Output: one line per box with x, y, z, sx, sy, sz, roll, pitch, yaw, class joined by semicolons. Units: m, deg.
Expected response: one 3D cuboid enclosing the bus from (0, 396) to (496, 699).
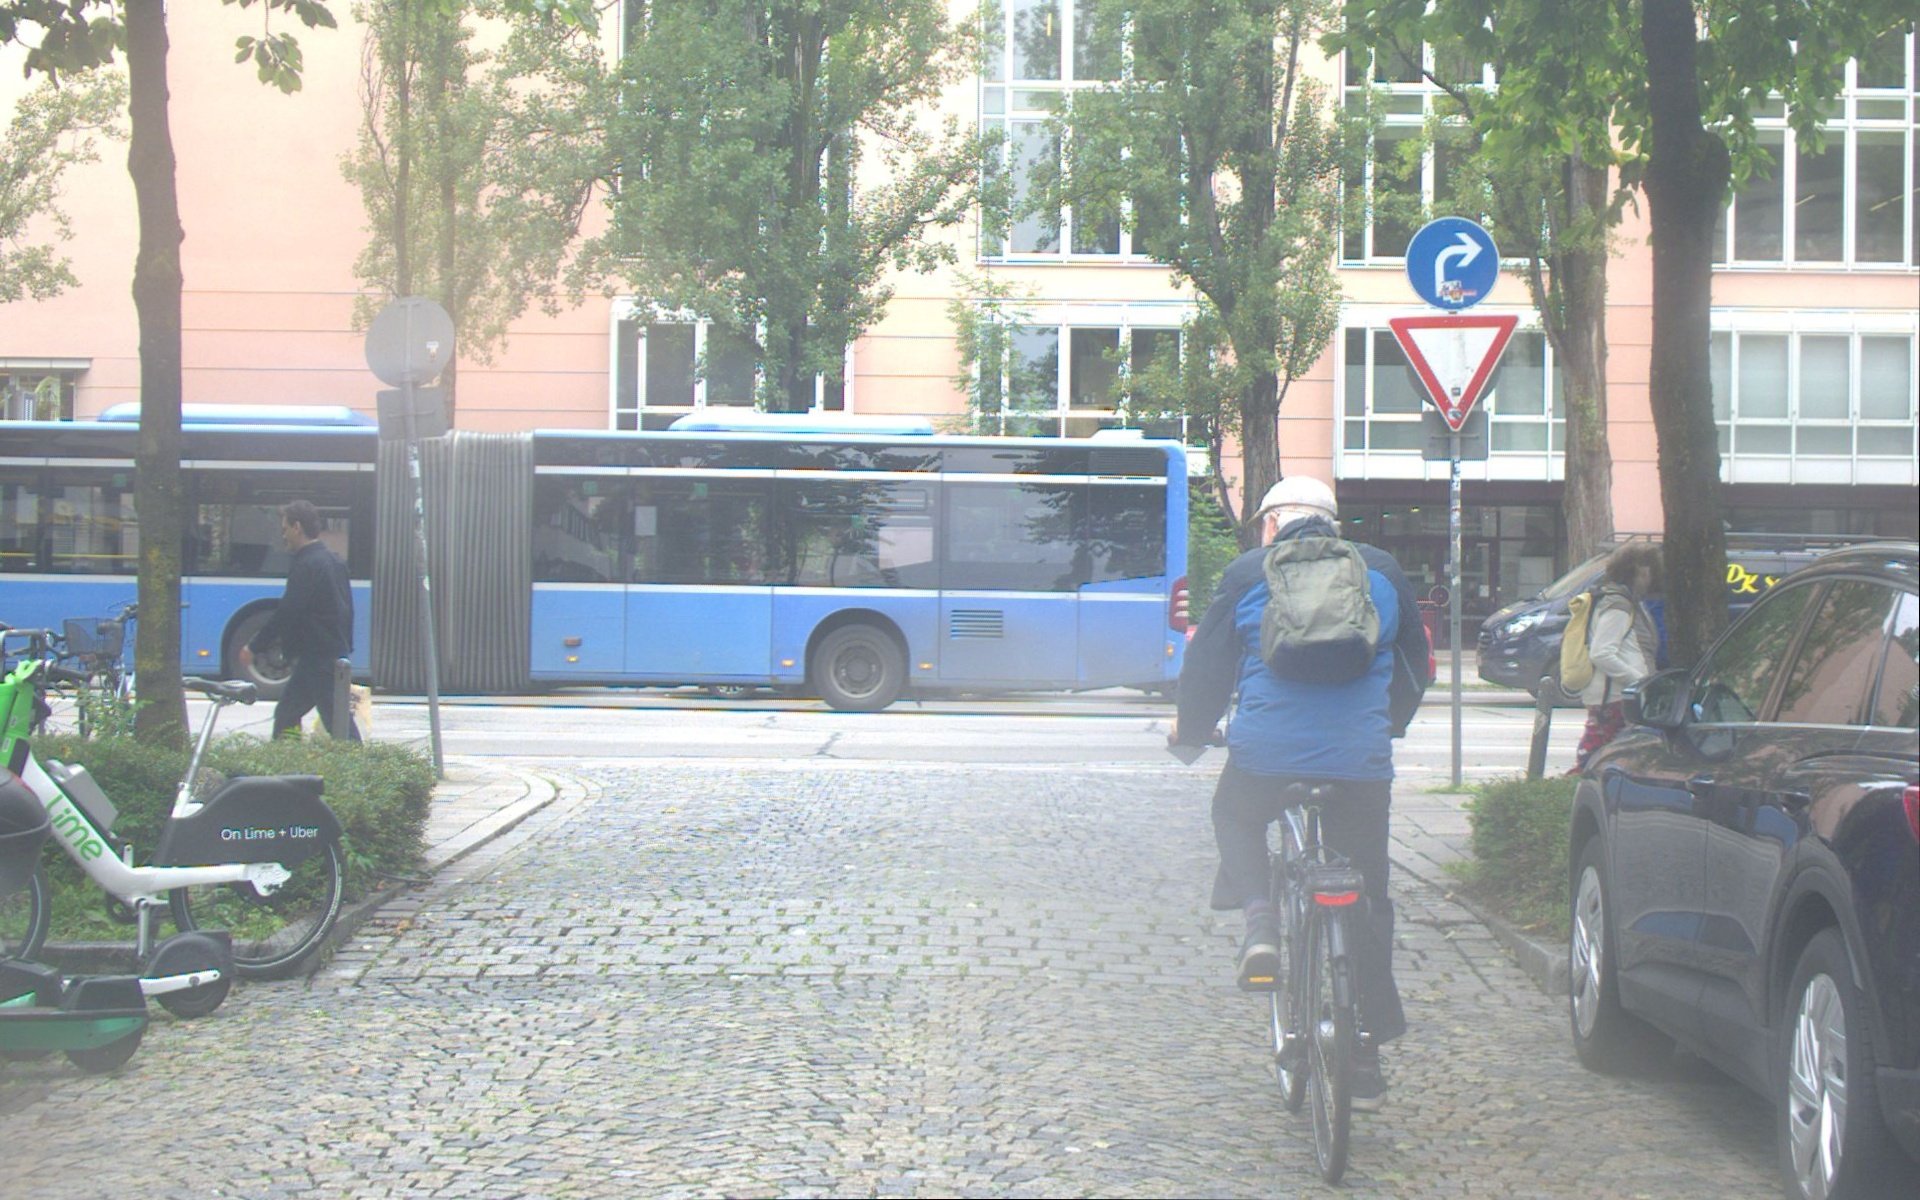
-10.004;-0.572;36.435;9.763;3.041;2.927;0;1;0;bus

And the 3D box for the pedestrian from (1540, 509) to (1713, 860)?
3.298;0.403;17.043;0.804;1.690;0.664;1;1;10;pedestrian

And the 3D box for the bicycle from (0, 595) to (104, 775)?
-6.070;0.526;22.204;0.490;1.089;1.703;1;1;6;bicycle

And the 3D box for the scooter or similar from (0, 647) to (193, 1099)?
-2.861;0.774;9.824;1.247;1.268;0.327;1;1;-30;scooter or similar

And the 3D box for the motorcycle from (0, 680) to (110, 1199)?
-2.985;0.795;7.653;1.985;1.192;0.771;0;1;-43;motorcycle

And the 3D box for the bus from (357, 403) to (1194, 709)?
-1.862;-0.467;36.364;8.489;3.041;2.927;0;1;1;bus

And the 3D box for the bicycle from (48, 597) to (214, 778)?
-5.291;0.538;22.027;0.490;1.089;1.703;1;1;6;bicycle

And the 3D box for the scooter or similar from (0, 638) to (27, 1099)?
-2.904;0.746;8.983;0.326;1.268;1.357;1;1;11;scooter or similar

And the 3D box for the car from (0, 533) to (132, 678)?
-12.388;0.052;42.077;4.065;1.726;1.793;1;-1;0;car

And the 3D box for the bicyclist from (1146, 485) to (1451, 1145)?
0.854;0.524;8.864;0.722;1.614;0.757;1;1;3;bicyclist

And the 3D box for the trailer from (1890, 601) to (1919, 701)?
14.573;0.663;41.742;5.910;1.195;2.405;1;1;2;trailer

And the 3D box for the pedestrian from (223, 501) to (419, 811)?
-3.584;0.304;19.353;0.955;1.705;0.858;0;1;-1;pedestrian

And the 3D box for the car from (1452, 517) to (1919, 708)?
8.882;0.135;41.851;5.479;2.189;2.024;1;1;1;car

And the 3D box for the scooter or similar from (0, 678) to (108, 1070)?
-3.230;0.805;10.323;1.247;1.140;0.327;1;1;1;scooter or similar

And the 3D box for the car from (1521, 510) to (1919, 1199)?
2.808;0.668;8.808;1.920;1.694;4.202;2;1;-1;car

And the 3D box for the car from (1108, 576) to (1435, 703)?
3.760;0.468;41.795;3.861;1.444;1.678;1;1;4;car

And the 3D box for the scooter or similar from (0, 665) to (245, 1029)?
-3.064;0.786;11.078;1.425;1.140;0.369;1;1;-23;scooter or similar

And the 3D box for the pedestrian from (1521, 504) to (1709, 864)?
3.136;0.389;16.474;0.843;1.674;0.610;1;1;10;pedestrian

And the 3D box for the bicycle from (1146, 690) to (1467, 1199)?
0.862;0.848;9.002;0.717;1.144;1.900;1;1;3;bicycle

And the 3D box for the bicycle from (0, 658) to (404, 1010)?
-2.855;0.782;11.851;1.757;1.139;0.554;1;1;-30;bicycle
